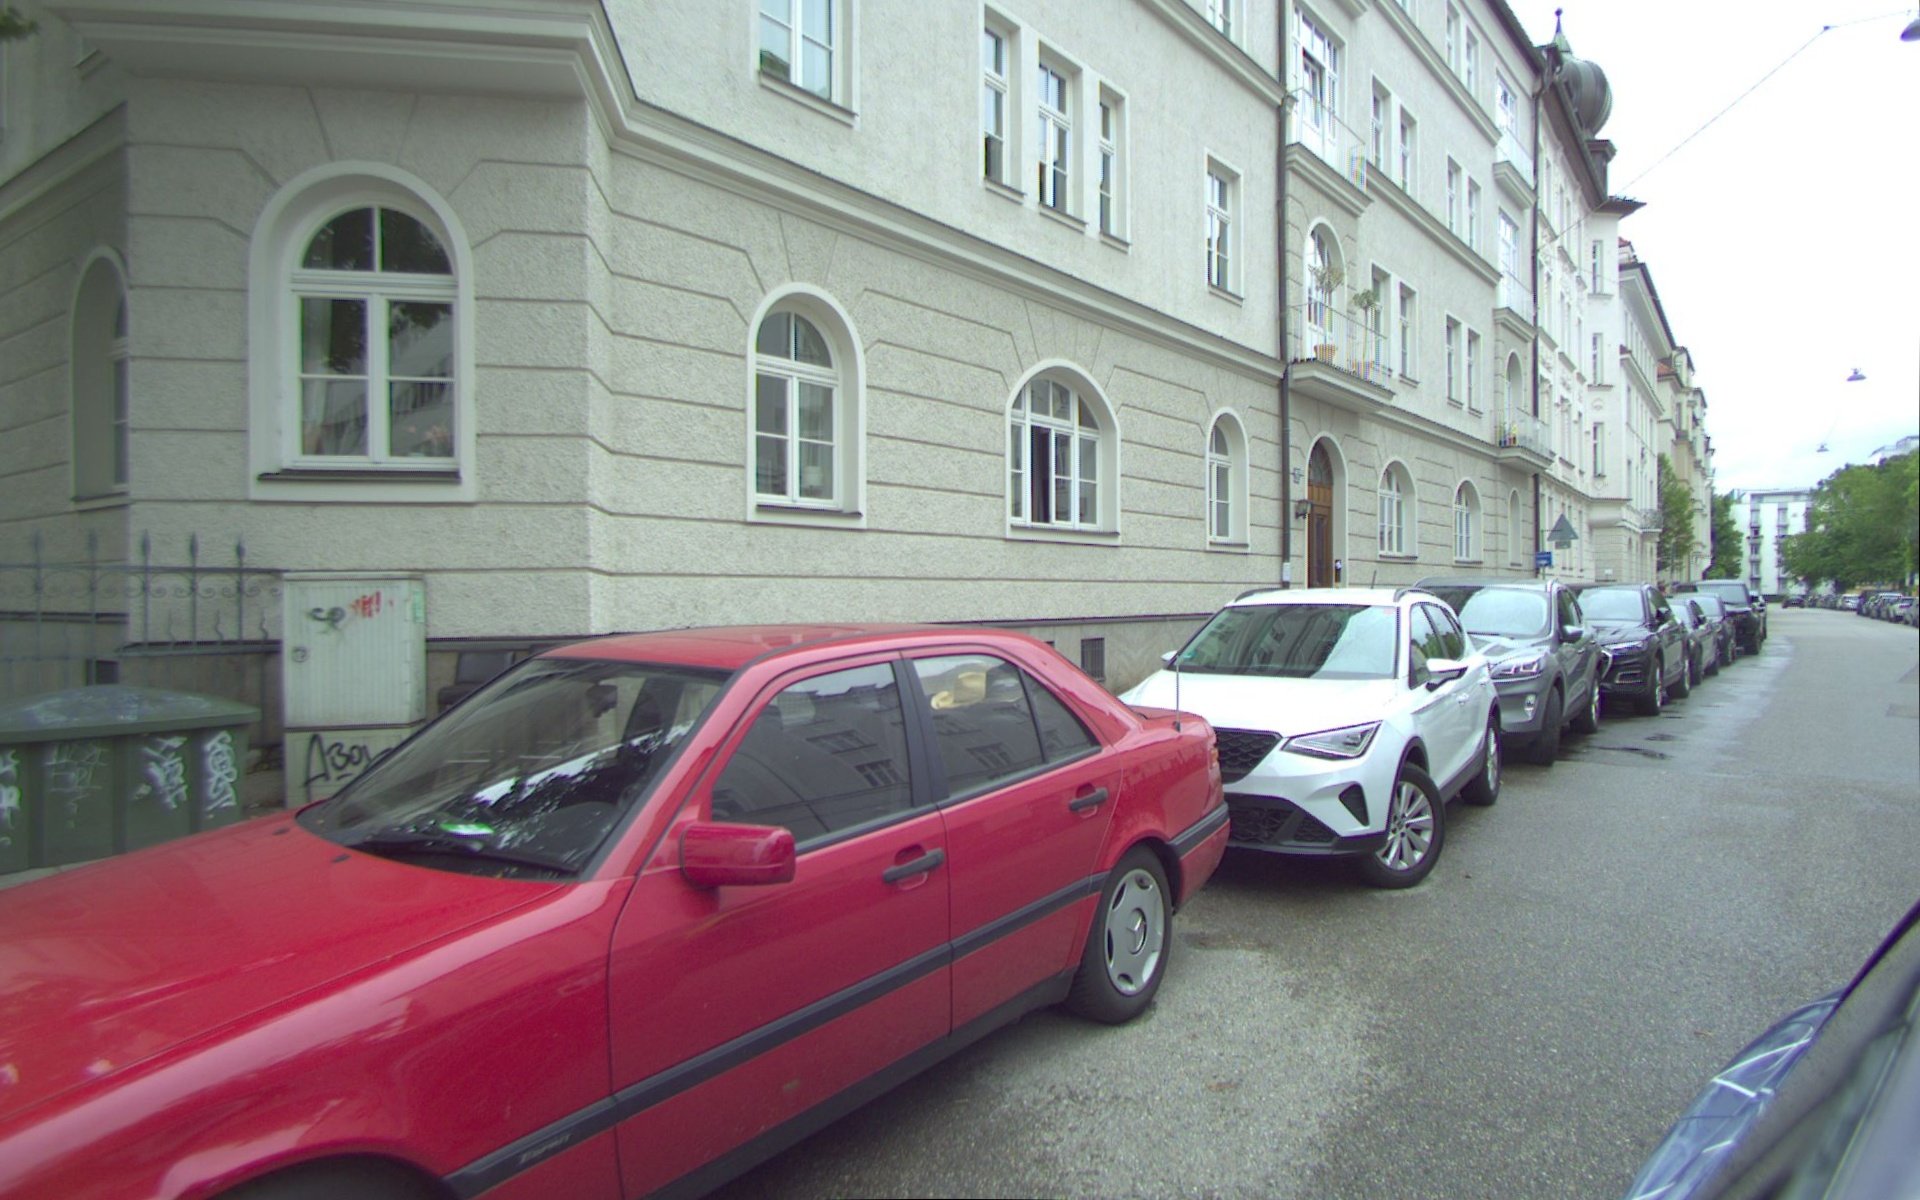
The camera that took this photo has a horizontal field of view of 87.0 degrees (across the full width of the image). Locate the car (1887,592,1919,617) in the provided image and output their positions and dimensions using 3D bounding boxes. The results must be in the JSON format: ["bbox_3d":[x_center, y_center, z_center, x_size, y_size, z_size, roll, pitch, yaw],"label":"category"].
[{"bbox_3d":[56.382,0.256,59.946,1.730,1.382,4.138,2,1,36],"label":"car"}]

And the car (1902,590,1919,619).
[{"bbox_3d":[51.300,0.213,53.579,1.794,1.453,4.022,0,1,39],"label":"car"}]

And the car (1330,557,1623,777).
[{"bbox_3d":[5.405,0.503,10.273,1.787,1.735,4.364,0,1,39],"label":"car"}]

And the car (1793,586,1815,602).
[{"bbox_3d":[93.751,-0.690,112.467,1.720,1.552,4.031,0,2,37],"label":"car"}]

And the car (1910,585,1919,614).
[{"bbox_3d":[48.668,-0.010,50.299,1.641,1.420,3.947,3,2,37],"label":"car"}]

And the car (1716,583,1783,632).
[{"bbox_3d":[27.385,0.254,35.164,1.703,1.608,3.945,-2,-1,38],"label":"car"}]

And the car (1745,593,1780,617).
[{"bbox_3d":[53.468,0.322,67.466,1.658,1.527,4.010,-1,-1,37],"label":"car"}]

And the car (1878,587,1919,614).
[{"bbox_3d":[62.315,0.019,67.103,1.802,1.669,4.423,-2,-1,38],"label":"car"}]

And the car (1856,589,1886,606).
[{"bbox_3d":[82.753,-0.253,91.934,1.697,1.511,3.902,1,1,37],"label":"car"}]

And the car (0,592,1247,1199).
[{"bbox_3d":[-0.796,0.720,3.063,1.666,1.453,4.153,-1,0,40],"label":"car"}]

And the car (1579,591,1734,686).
[{"bbox_3d":[12.532,0.594,18.104,1.706,1.489,4.135,0,0,43],"label":"car"}]

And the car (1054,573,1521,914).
[{"bbox_3d":[2.363,0.618,6.585,1.746,1.515,3.858,-1,0,37],"label":"car"}]

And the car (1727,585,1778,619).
[{"bbox_3d":[40.393,0.124,51.554,1.893,1.657,4.326,0,-1,40],"label":"car"}]

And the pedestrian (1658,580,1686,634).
[{"bbox_3d":[23.641,0.231,33.605,0.701,1.750,0.694,1,0,38],"label":"pedestrian"}]

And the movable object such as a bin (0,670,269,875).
[{"bbox_3d":[-4.609,0.872,5.503,0.898,0.854,1.202,0,1,38],"label":"movable object such as a bin"}]

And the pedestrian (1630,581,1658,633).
[{"bbox_3d":[22.746,0.229,33.638,0.678,1.695,0.645,2,1,38],"label":"pedestrian"}]

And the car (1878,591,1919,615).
[{"bbox_3d":[58.608,0.167,63.000,1.764,1.438,3.948,0,1,37],"label":"car"}]

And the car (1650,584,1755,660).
[{"bbox_3d":[16.552,0.456,22.495,1.652,1.545,3.584,-1,-1,40],"label":"car"}]

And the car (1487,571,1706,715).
[{"bbox_3d":[8.803,0.492,13.832,1.776,1.657,4.308,-2,-1,42],"label":"car"}]

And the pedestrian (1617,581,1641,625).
[{"bbox_3d":[26.873,0.116,40.660,0.681,1.700,0.800,2,1,39],"label":"pedestrian"}]

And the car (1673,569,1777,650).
[{"bbox_3d":[19.989,0.224,26.378,1.907,1.909,4.647,-3,-1,39],"label":"car"}]
